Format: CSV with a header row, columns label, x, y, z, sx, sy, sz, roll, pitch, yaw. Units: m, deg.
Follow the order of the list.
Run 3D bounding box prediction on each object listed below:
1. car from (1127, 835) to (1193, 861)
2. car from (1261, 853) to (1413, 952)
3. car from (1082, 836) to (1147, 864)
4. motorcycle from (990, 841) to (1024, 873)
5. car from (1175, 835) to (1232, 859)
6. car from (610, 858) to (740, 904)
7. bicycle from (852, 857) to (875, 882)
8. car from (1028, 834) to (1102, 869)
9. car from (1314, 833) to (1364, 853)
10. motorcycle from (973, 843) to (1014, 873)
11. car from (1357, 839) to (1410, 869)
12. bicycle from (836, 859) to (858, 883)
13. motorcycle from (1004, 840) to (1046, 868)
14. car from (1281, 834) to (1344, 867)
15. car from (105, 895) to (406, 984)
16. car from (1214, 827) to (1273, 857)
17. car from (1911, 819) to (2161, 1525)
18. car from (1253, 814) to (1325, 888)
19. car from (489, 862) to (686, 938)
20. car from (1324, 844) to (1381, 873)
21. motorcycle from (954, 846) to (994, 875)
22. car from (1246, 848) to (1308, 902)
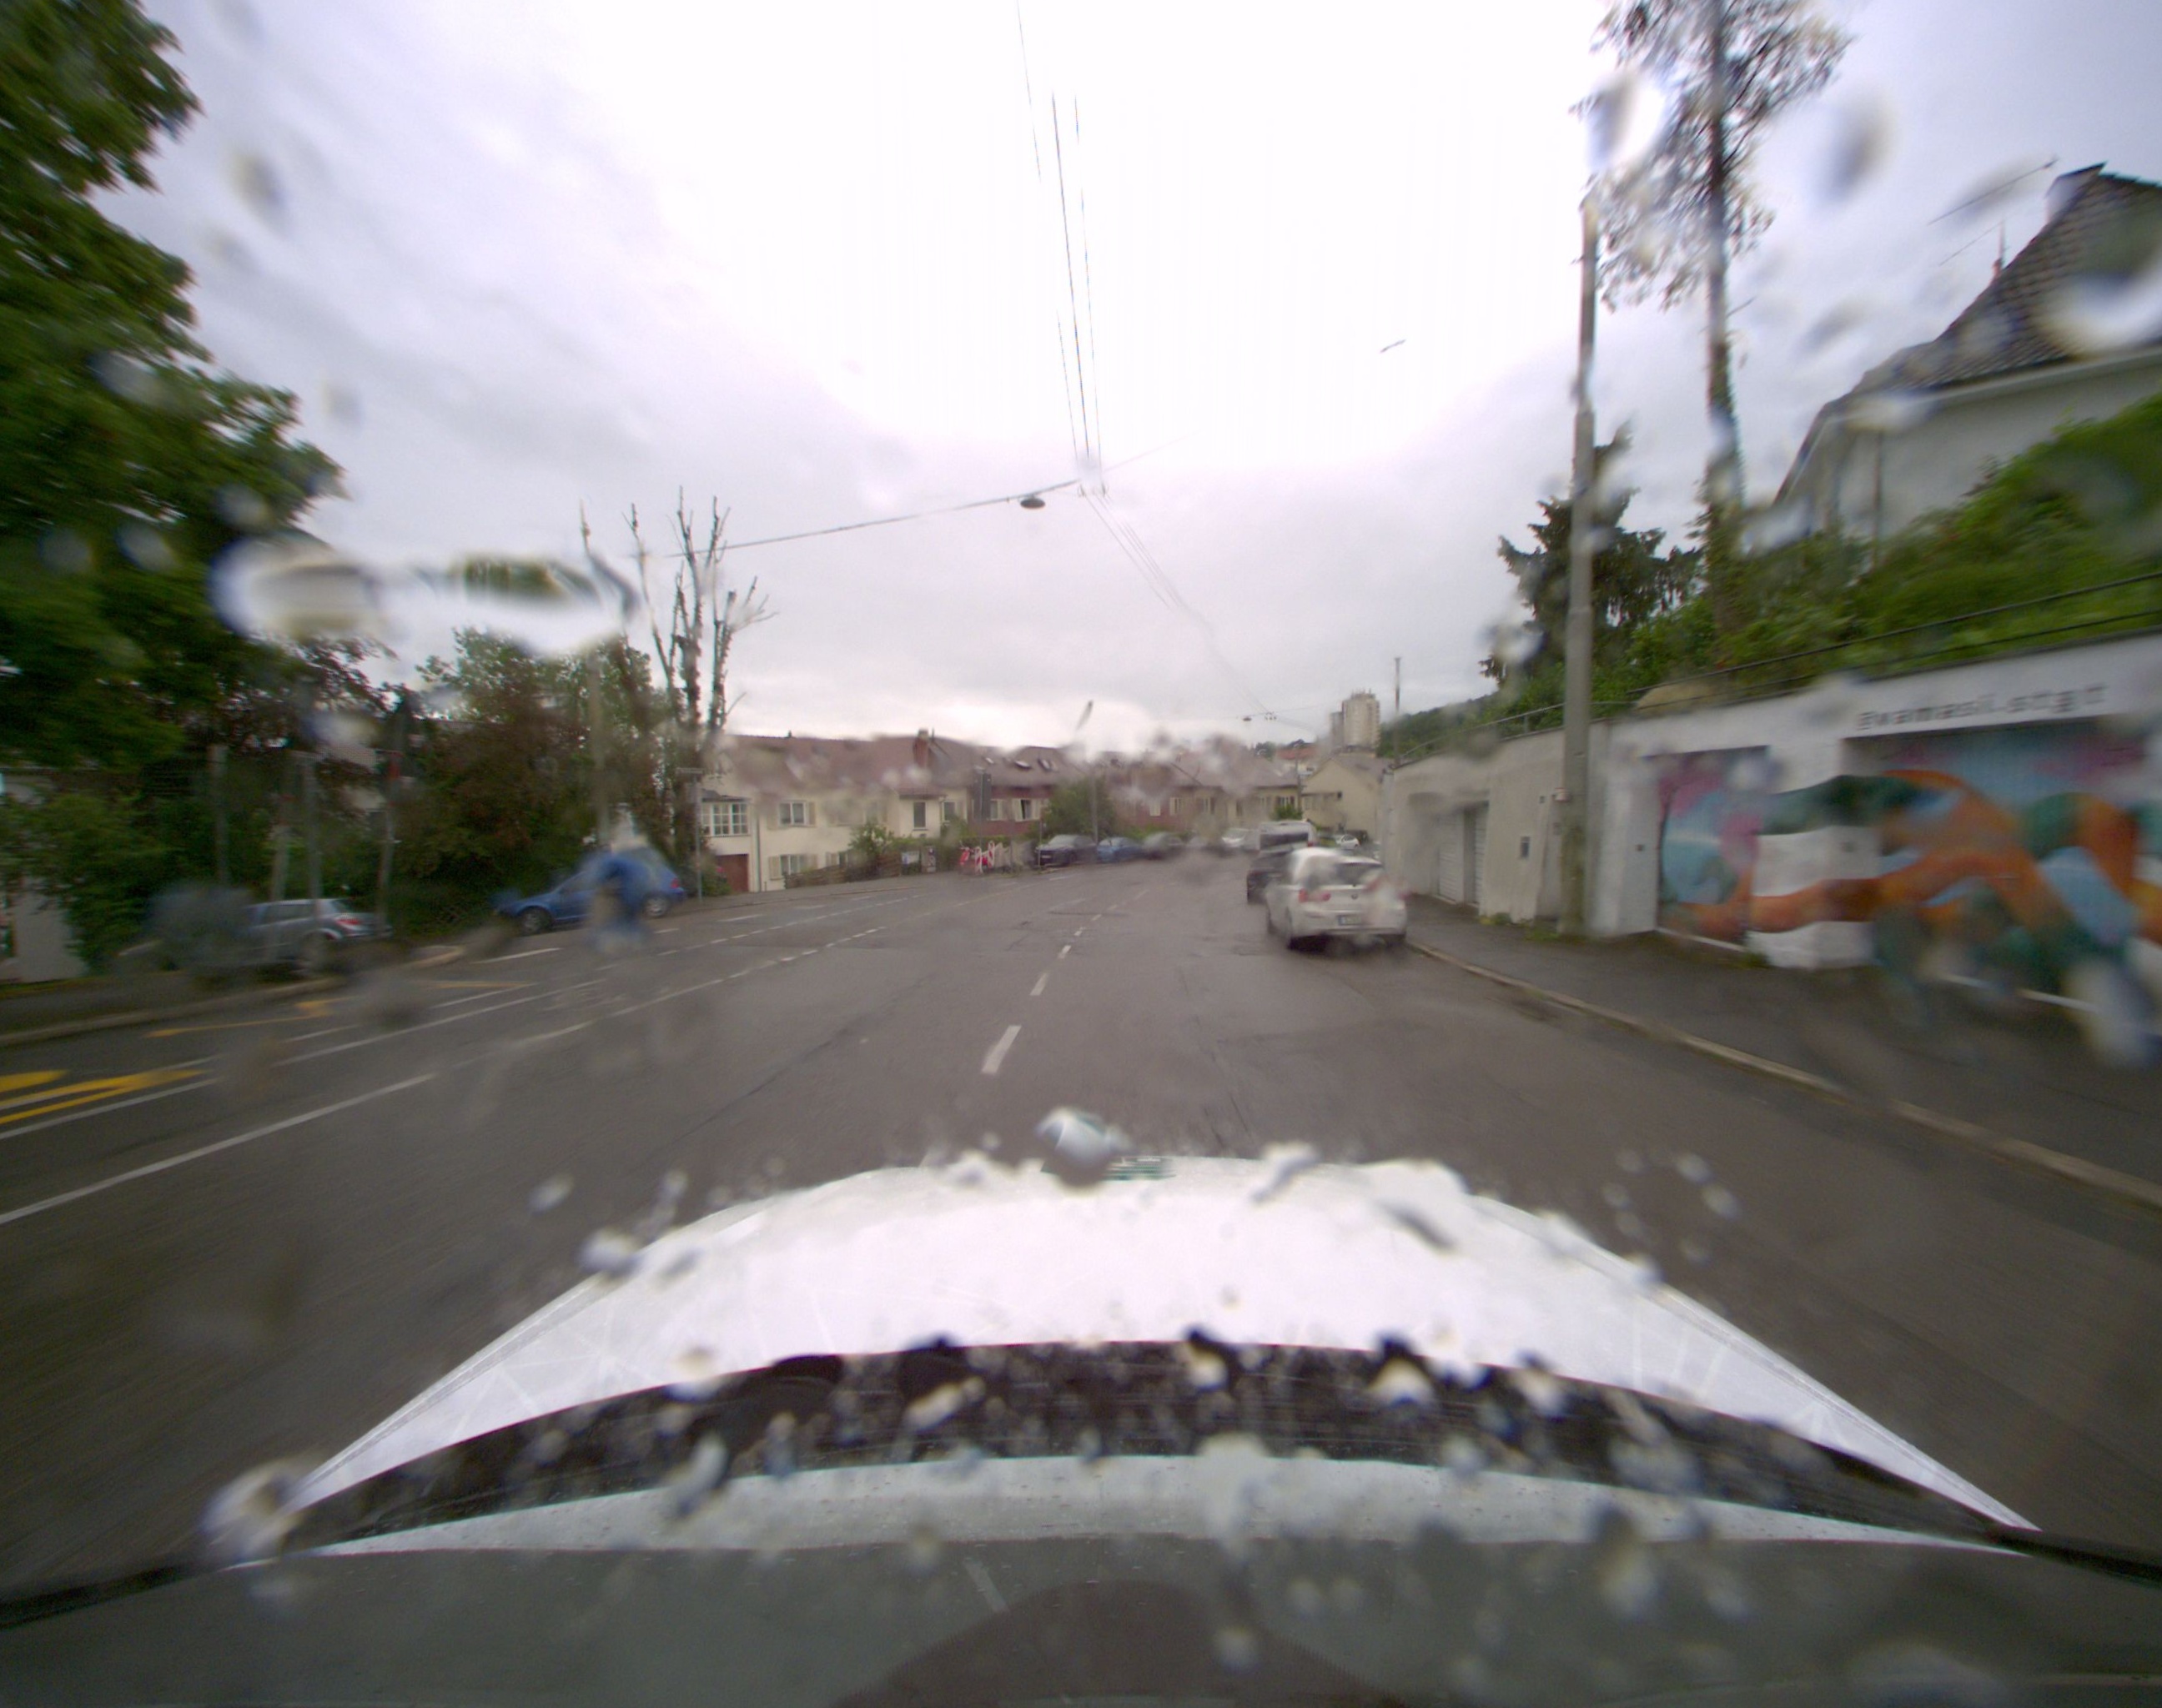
label,x,y,z,sx,sy,sz,roll,pitch,yaw
car,4.997,-0.402,51.064,1.791,1.476,4.551,3,3,40
car,4.171,0.718,13.900,1.696,1.414,4.048,-1,0,6
car,1.968,-0.278,46.498,1.683,1.404,4.501,3,4,31
motorcycle,-3.346,0.112,36.735,0.616,1.303,1.788,0,3,-37
car,8.391,-0.525,55.568,1.791,1.476,4.551,3,3,37
car,-13.553,0.876,27.320,1.535,1.327,3.585,-2,0,42
bicycle,-9.466,0.675,35.427,1.287,1.035,0.307,-5,-5,41
car,-0.760,-0.184,41.858,1.904,1.576,4.414,3,3,26
car,22.215,-0.972,70.086,4.703,1.630,1.913,0,3,-42
motorcycle,-3.862,0.168,35.824,1.785,1.279,0.514,2,2,24
car,18.340,-0.052,49.275,1.786,1.649,4.237,2,2,39
bicycle,-10.455,0.764,36.407,1.311,1.035,0.307,-5,-5,43
motorcycle,-2.628,-0.011,38.116,1.898,1.271,0.574,1,2,-7
car,14.404,-0.270,50.455,2.286,1.939,4.353,3,3,37
car,-17.293,1.741,17.318,4.076,1.494,1.832,-1,0,-16
car,12.047,-0.915,60.157,1.831,2.078,5.051,4,3,43
car,3.162,0.656,0.253,1.708,1.513,3.999,-1,0,0
car,8.030,-0.105,31.108,2.081,2.542,5.648,-1,0,20
car,-11.996,1.046,19.962,3.957,1.666,1.823,0,-1,-33
car,14.886,0.205,44.540,1.662,1.483,4.228,3,2,37
motorcycle,-4.479,0.258,34.234,0.504,1.140,1.934,-1,1,31
car,6.257,0.599,25.681,1.740,1.495,4.201,-1,1,16
